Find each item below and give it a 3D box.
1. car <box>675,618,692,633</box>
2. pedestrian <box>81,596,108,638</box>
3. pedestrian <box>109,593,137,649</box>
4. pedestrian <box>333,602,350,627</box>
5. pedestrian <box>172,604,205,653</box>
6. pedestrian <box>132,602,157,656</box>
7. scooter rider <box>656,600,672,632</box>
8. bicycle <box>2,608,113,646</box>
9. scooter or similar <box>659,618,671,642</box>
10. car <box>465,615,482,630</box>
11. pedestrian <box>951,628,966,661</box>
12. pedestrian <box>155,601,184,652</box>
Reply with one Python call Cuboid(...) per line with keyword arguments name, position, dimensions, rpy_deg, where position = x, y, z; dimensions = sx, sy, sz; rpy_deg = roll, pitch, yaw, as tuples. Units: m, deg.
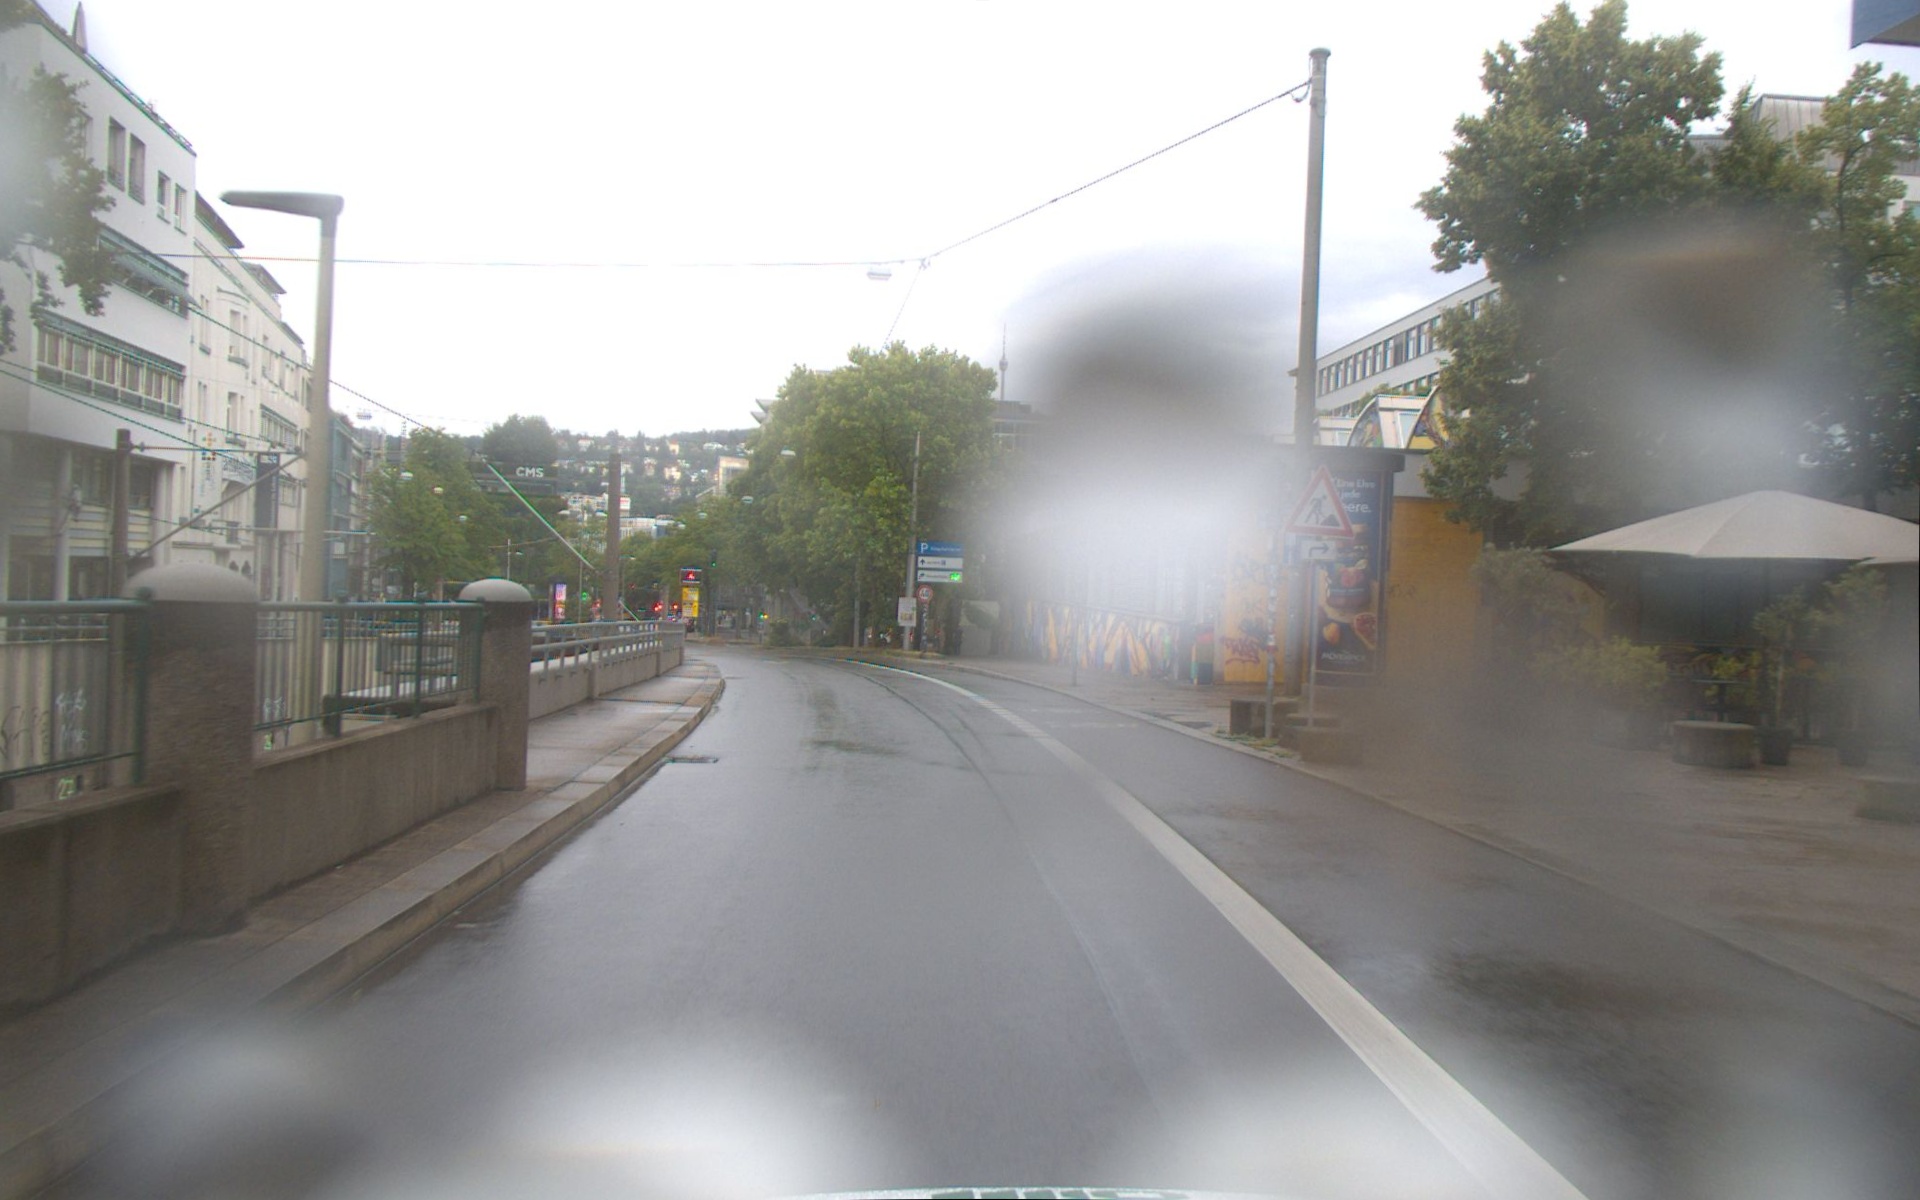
Cuboid(name="car", position=(-32.984, 3.075, 196.925), dimensions=(1.867, 1.713, 3.900), rpy_deg=(2, -1, -11))
Cuboid(name="pedestrian", position=(-30.016, 0.589, 57.384), dimensions=(0.596, 1.444, 0.672), rpy_deg=(2, -1, -10))
Cuboid(name="pedestrian", position=(-25.315, 0.637, 50.012), dimensions=(0.664, 1.644, 0.933), rpy_deg=(2, -1, -30))
Cuboid(name="pedestrian", position=(-49.493, 1.159, 132.318), dimensions=(0.846, 1.901, 0.960), rpy_deg=(2, -2, 4))
Cuboid(name="pedestrian", position=(-26.776, 0.983, 57.407), dimensions=(0.778, 1.671, 0.672), rpy_deg=(1, -1, 31))
Cuboid(name="pedestrian", position=(-27.697, 0.982, 56.185), dimensions=(0.664, 1.816, 0.933), rpy_deg=(2, -1, -30))
Cuboid(name="scooter rider", position=(-18.408, 1.007, 102.851), dimensions=(0.796, 1.982, 0.818), rpy_deg=(3, -2, -17))
Cuboid(name="bicycle", position=(-28.045, 0.814, 51.521), dimensions=(1.662, 1.062, 4.510), rpy_deg=(2, -1, -11))
Cuboid(name="scooter or similar", position=(-18.349, 1.880, 102.851), dimensions=(0.537, 1.443, 1.946), rpy_deg=(2, -2, -16))
Cuboid(name="car", position=(-56.010, 2.565, 190.471), dimensions=(1.751, 1.582, 3.878), rpy_deg=(3, 1, -15))
Cuboid(name="pedestrian", position=(-0.095, 2.580, 95.939), dimensions=(0.791, 1.897, 1.054), rpy_deg=(0, -1, -5))
Cuboid(name="pedestrian", position=(-27.686, 0.921, 57.940), dimensions=(0.597, 1.752, 0.671), rpy_deg=(1, -1, 35))
